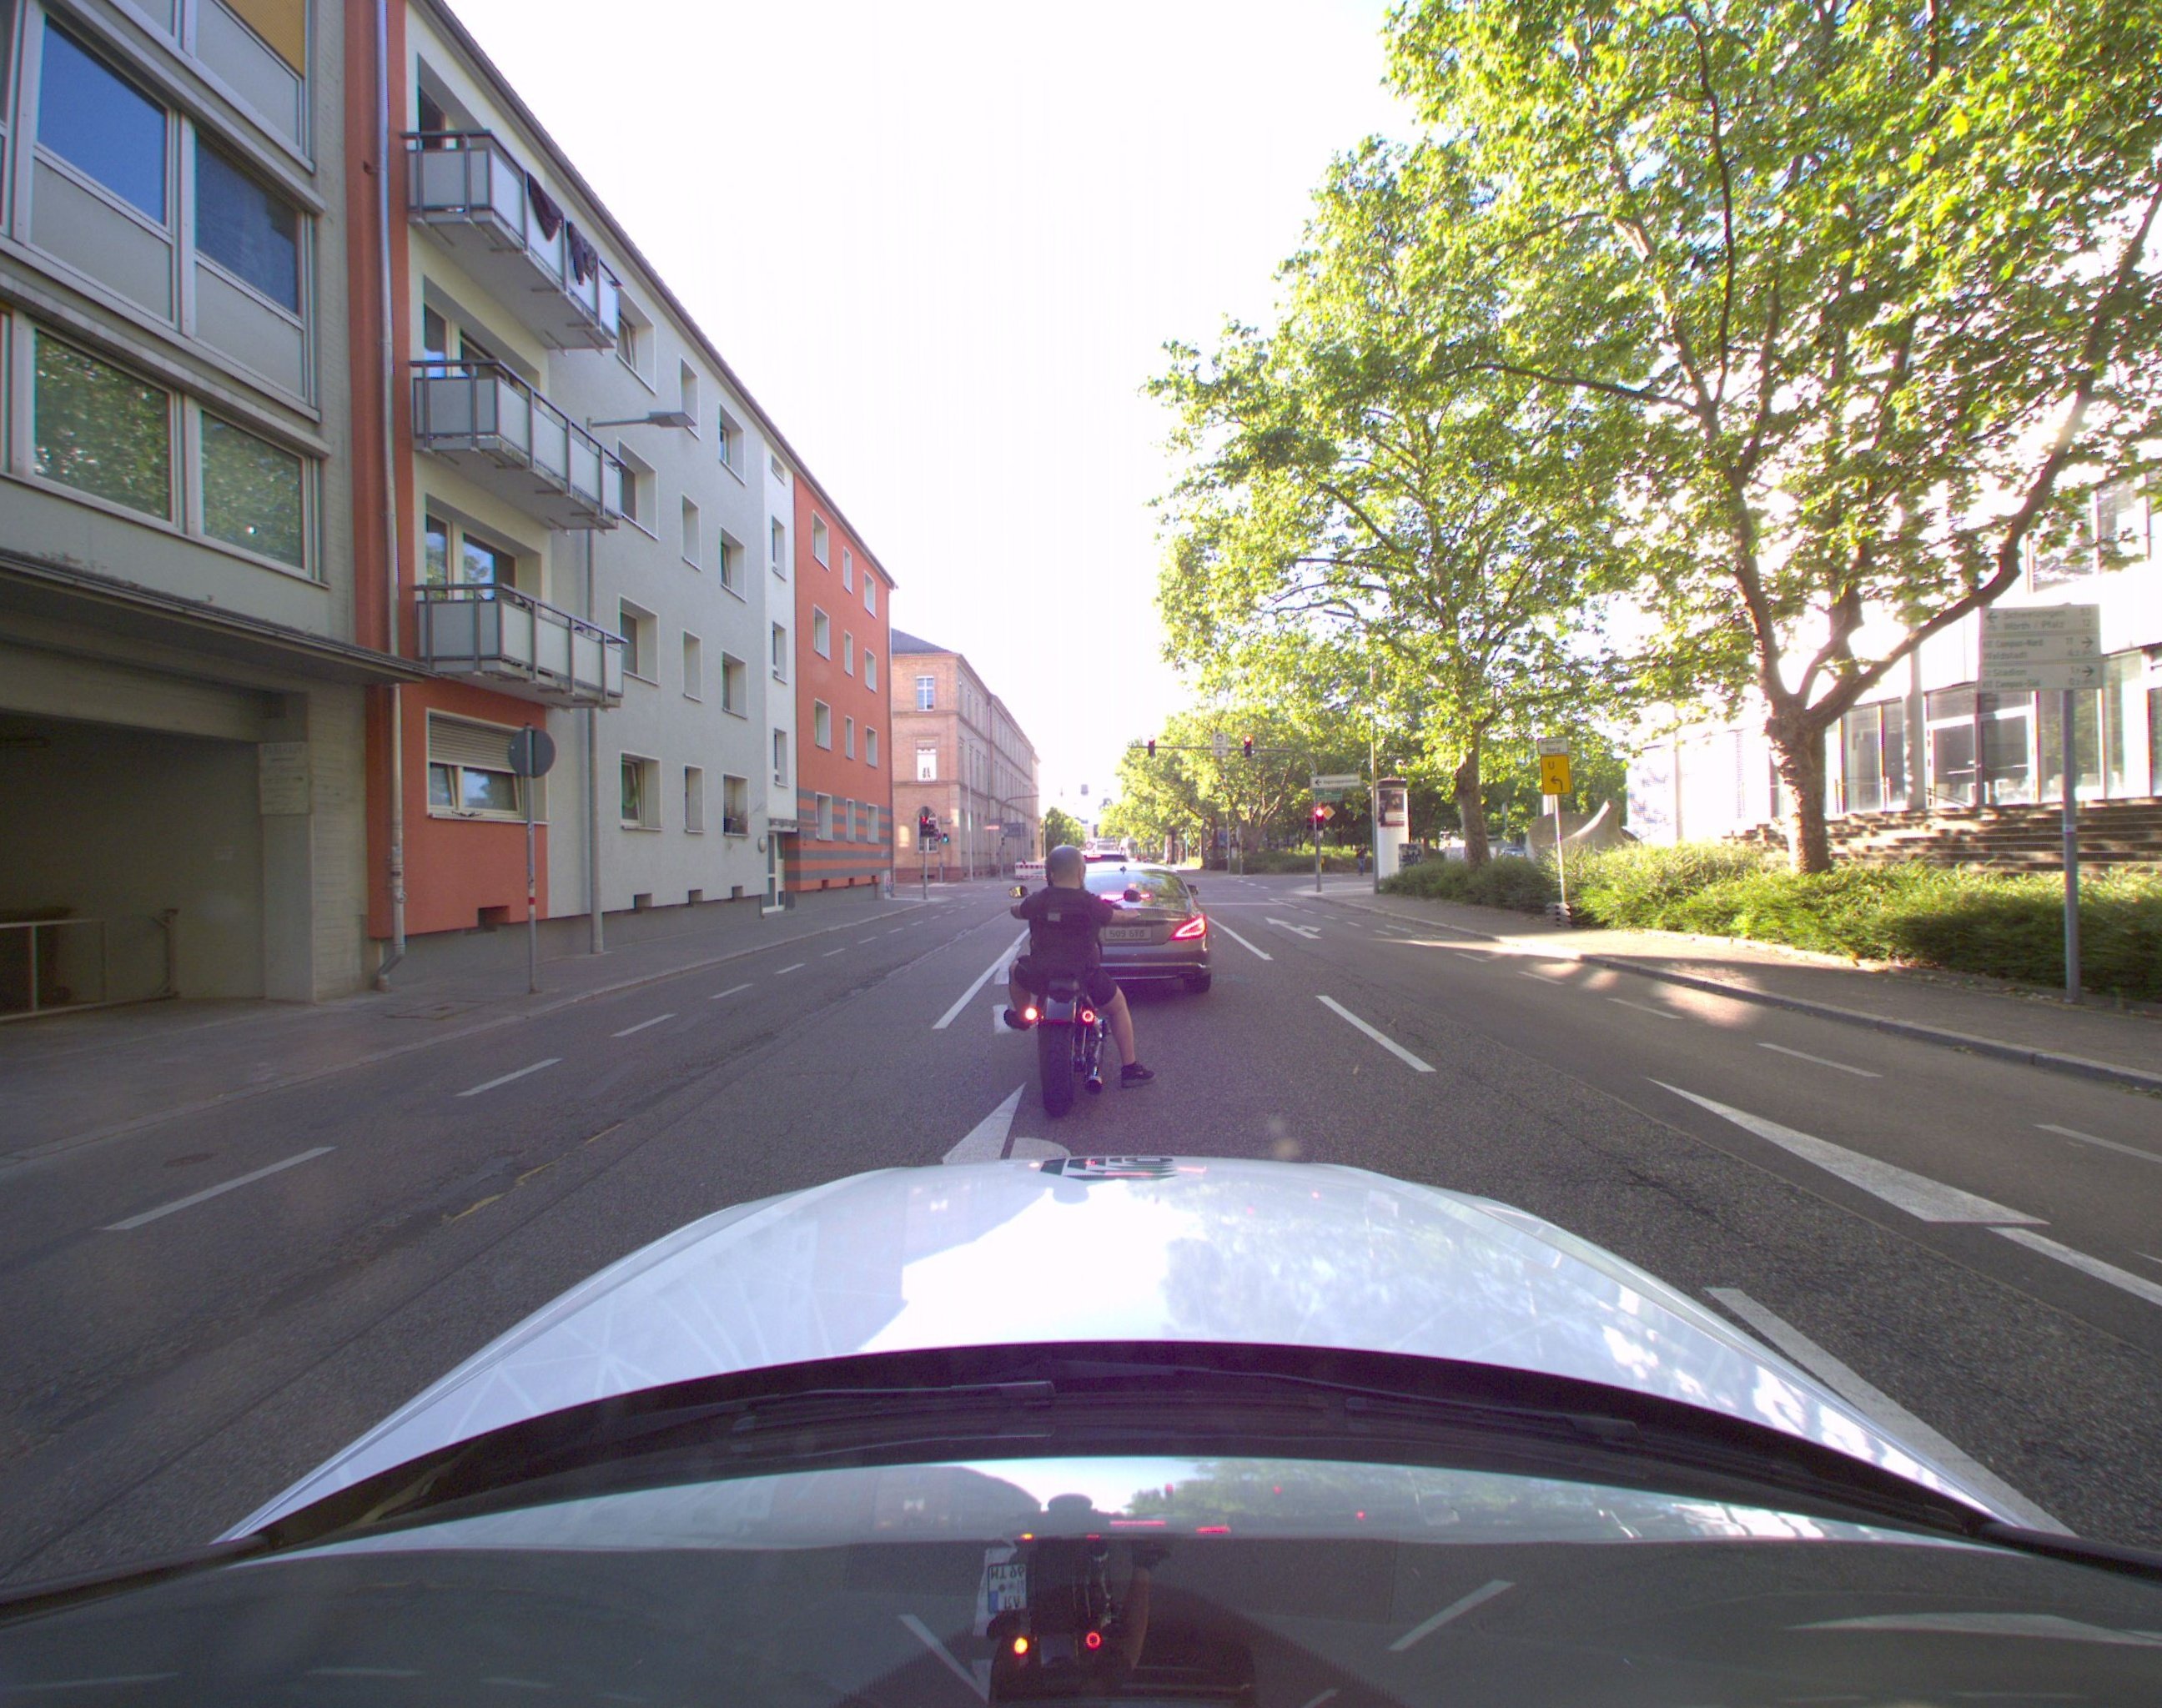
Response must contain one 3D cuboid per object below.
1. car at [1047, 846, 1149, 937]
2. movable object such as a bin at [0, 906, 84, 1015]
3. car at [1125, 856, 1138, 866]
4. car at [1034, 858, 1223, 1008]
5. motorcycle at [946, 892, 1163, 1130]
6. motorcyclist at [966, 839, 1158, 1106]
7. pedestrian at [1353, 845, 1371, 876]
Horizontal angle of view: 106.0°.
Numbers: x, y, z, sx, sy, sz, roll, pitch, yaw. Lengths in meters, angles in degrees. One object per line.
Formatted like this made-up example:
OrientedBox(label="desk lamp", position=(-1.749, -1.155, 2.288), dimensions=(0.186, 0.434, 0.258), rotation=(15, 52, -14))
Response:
OrientedBox(label="car", position=(0.377, 0.710, 17.055), dimensions=(1.856, 1.678, 4.001), rotation=(0, -1, 2))
OrientedBox(label="movable object such as a bin", position=(-11.288, 1.112, 8.634), dimensions=(0.533, 1.079, 0.723), rotation=(0, -1, 3))
OrientedBox(label="car", position=(6.975, 0.965, 112.739), dimensions=(1.625, 1.259, 3.717), rotation=(0, -1, 2))
OrientedBox(label="car", position=(0.517, 0.778, 9.767), dimensions=(1.815, 1.437, 3.807), rotation=(0, -1, 2))
OrientedBox(label="motorcycle", position=(-0.045, 0.910, 5.610), dimensions=(1.111, 1.207, 2.217), rotation=(0, -1, 8))
OrientedBox(label="motorcyclist", position=(-0.073, 0.702, 5.391), dimensions=(1.093, 1.566, 1.074), rotation=(0, -1, 8))
OrientedBox(label="pedestrian", position=(16.384, 0.362, 47.524), dimensions=(0.735, 1.778, 0.727), rotation=(0, -1, -10))
